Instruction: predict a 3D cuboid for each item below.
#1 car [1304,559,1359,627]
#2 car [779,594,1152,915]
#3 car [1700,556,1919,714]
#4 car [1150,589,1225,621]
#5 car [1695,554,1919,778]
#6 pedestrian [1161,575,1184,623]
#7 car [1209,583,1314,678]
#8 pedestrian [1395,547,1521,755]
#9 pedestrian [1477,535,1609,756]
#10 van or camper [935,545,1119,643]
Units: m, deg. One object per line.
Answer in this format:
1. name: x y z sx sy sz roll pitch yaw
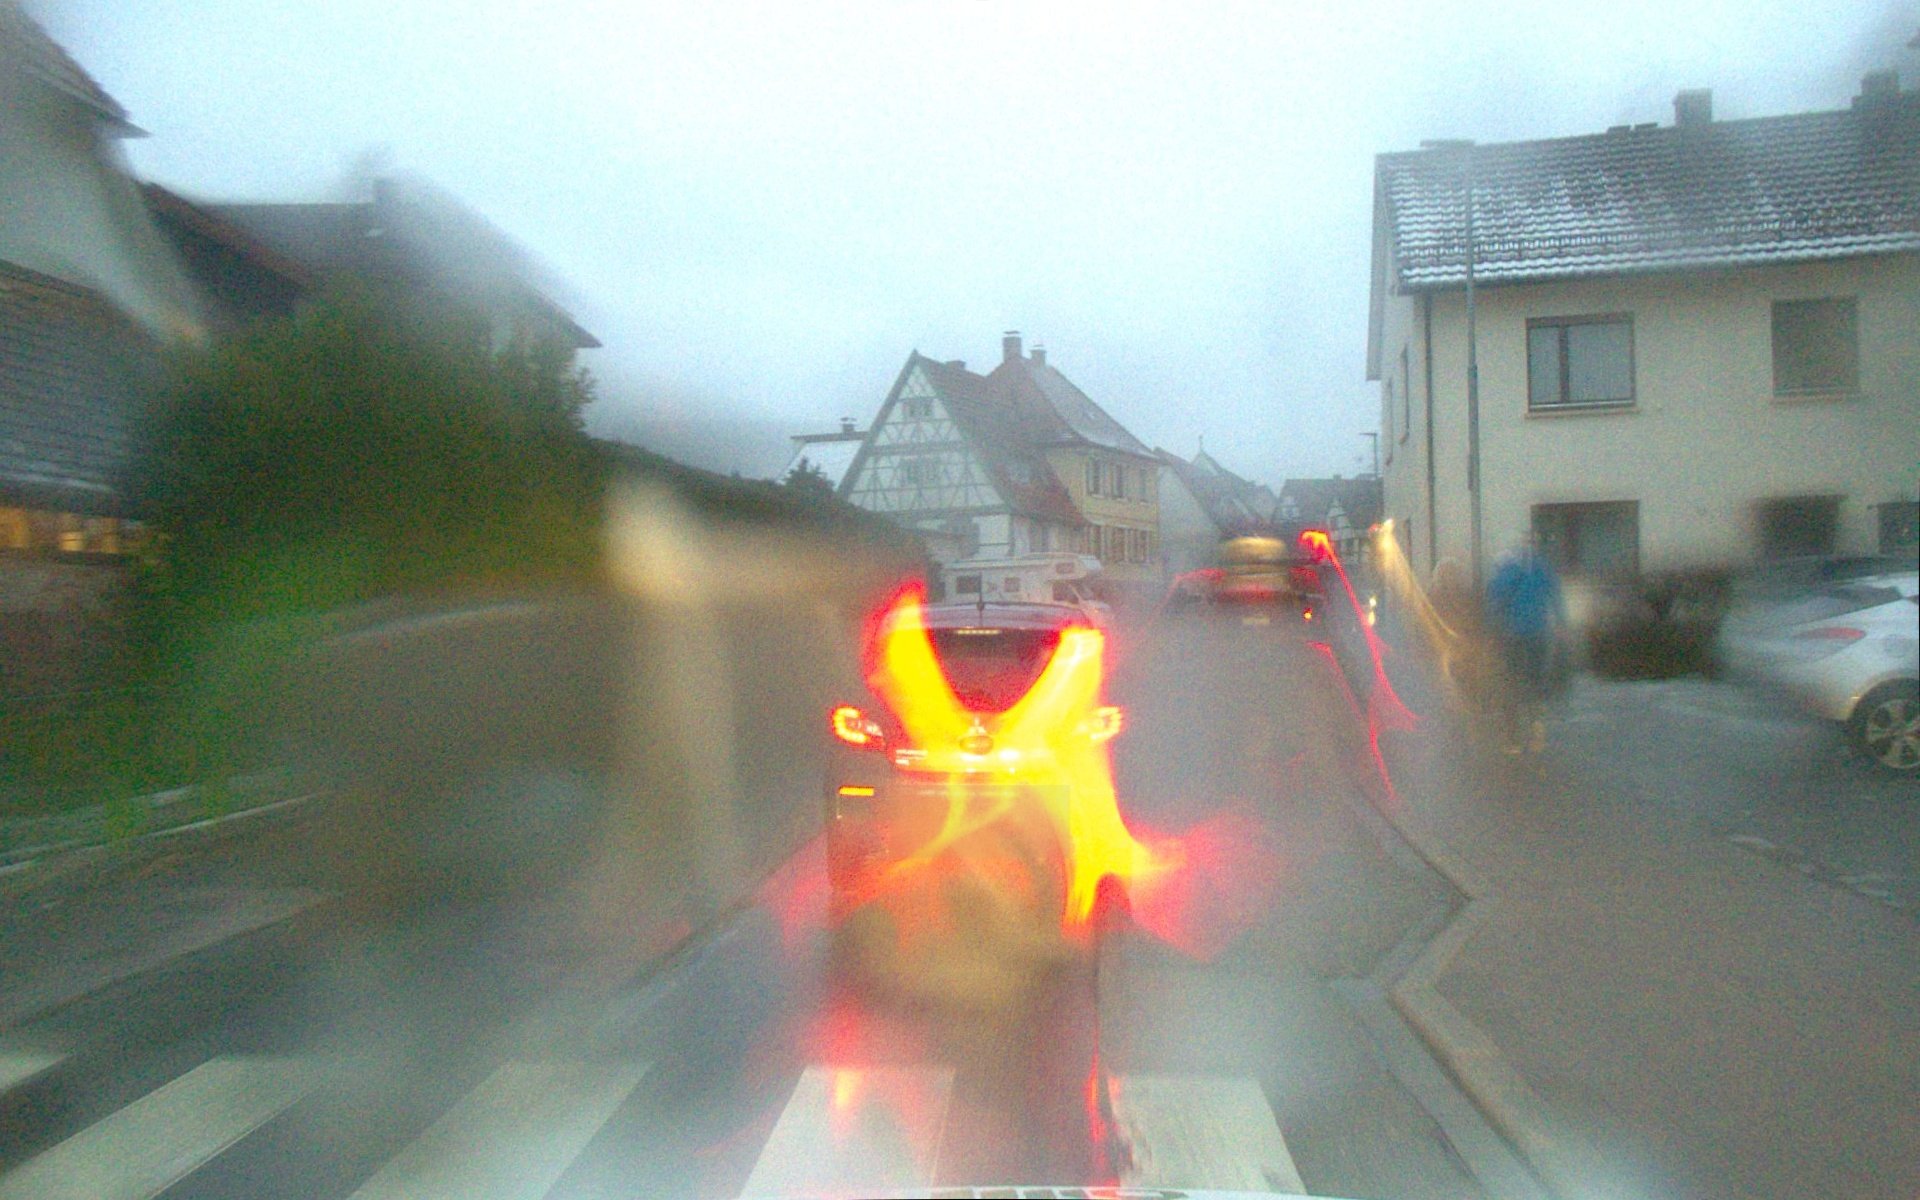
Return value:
1. car: 14.029 -0.269 62.382 1.775 2.455 3.754 -1 0 16
2. car: 0.091 0.722 9.823 1.758 1.502 4.001 0 0 2
3. car: 9.589 0.308 17.102 3.148 1.499 1.588 -3 0 5
4. car: 11.527 0.257 83.728 3.435 1.533 1.692 -1 0 22
5. car: 7.659 0.389 12.045 3.817 1.499 1.752 -3 0 7
6. pedestrian: 9.248 -0.033 71.948 0.855 2.049 0.795 -1 0 14
7. car: 5.706 0.533 31.230 1.808 1.665 4.339 0 0 11
8. pedestrian: 4.310 0.428 14.383 0.848 1.695 0.993 -4 0 11
9. pedestrian: 4.931 0.374 14.058 0.830 1.763 0.972 -4 0 12
10. van or camper: 2.375 -0.199 58.607 5.935 3.006 2.407 -4 -1 20
